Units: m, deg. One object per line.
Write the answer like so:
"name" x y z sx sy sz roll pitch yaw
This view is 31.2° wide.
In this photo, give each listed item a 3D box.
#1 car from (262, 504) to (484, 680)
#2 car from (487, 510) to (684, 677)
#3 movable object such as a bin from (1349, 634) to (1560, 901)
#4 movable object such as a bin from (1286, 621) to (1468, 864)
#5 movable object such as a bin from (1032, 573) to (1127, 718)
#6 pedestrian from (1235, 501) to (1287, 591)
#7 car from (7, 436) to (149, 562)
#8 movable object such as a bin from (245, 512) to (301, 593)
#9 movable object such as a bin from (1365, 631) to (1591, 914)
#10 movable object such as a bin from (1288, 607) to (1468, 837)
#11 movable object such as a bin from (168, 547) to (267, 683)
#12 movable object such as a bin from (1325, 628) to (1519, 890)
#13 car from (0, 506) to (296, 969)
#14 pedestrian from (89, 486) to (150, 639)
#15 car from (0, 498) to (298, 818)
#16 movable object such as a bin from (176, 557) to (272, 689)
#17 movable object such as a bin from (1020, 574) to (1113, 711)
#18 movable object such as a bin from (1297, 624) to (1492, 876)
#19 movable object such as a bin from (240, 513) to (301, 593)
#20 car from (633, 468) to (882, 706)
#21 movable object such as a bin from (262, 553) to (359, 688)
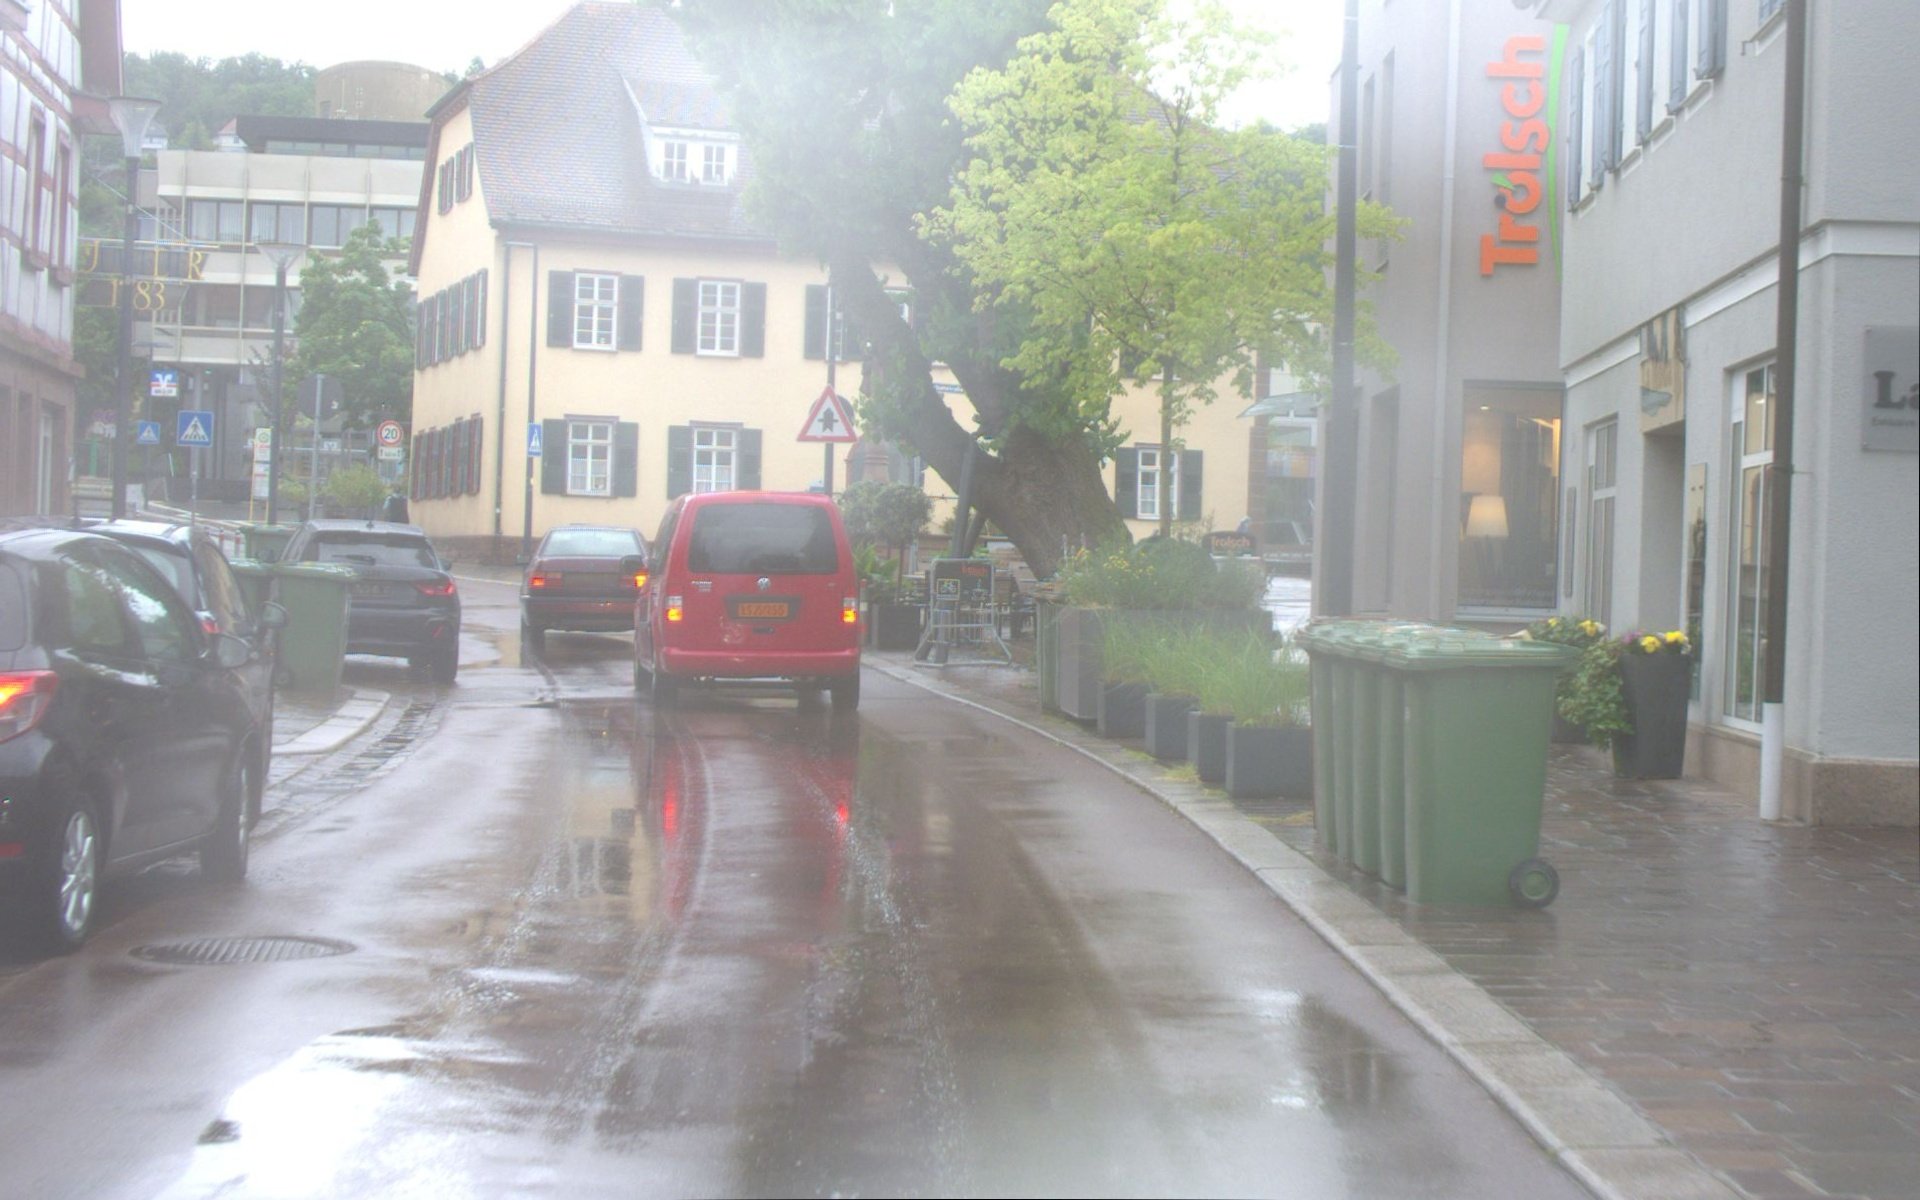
"car" -5.806 -0.123 33.661 1.787 1.490 4.002 3 2 -14
"car" -4.530 -0.081 41.098 1.993 1.793 4.001 3 0 -10
"movable object such as a bin" 2.074 0.694 14.484 0.754 1.060 0.600 3 0 1
"movable object such as a bin" 1.967 0.663 16.278 0.735 1.094 0.611 3 0 -1
"movable object such as a bin" 0.975 0.371 28.142 0.631 1.146 0.580 3 0 -8
"pedestrian" 6.329 -1.124 72.356 0.898 1.836 0.766 3 0 -2
"car" -19.932 -2.222 77.487 2.299 2.593 6.960 3 0 -20
"movable object such as a bin" -9.750 -0.670 48.794 0.714 1.102 0.600 3 0 -10
"movable object such as a bin" 2.076 0.682 13.852 0.768 1.076 0.599 3 0 1
"movable object such as a bin" 2.048 0.589 16.897 0.753 1.086 0.656 1 1 -3
"movable object such as a bin" -6.320 0.128 29.294 0.725 1.106 0.597 3 0 -8
"movable object such as a bin" 2.017 0.686 15.065 0.729 1.087 0.521 3 0 1
"car" -3.828 0.391 13.289 1.692 1.438 3.885 3 2 0
"pedestrian" -9.572 -0.426 39.166 0.518 1.705 0.578 3 0 -8
"car" -4.728 0.238 19.108 1.756 1.468 3.945 3 2 -8
"movable object such as a bin" -6.405 0.198 29.947 0.725 1.106 0.597 3 0 -8
"movable object such as a bin" 0.889 0.353 28.729 0.631 1.100 0.580 3 0 -8
"movable object such as a bin" 1.974 0.674 15.674 0.735 1.094 0.611 3 0 -3
"movable object such as a bin" -9.923 -0.675 49.507 0.794 1.102 0.722 3 0 -10
"car" -1.828 -0.181 29.906 1.894 1.805 4.001 4 2 -6
"movable object such as a bin" -5.564 0.174 29.475 0.725 1.106 0.597 3 0 -8
